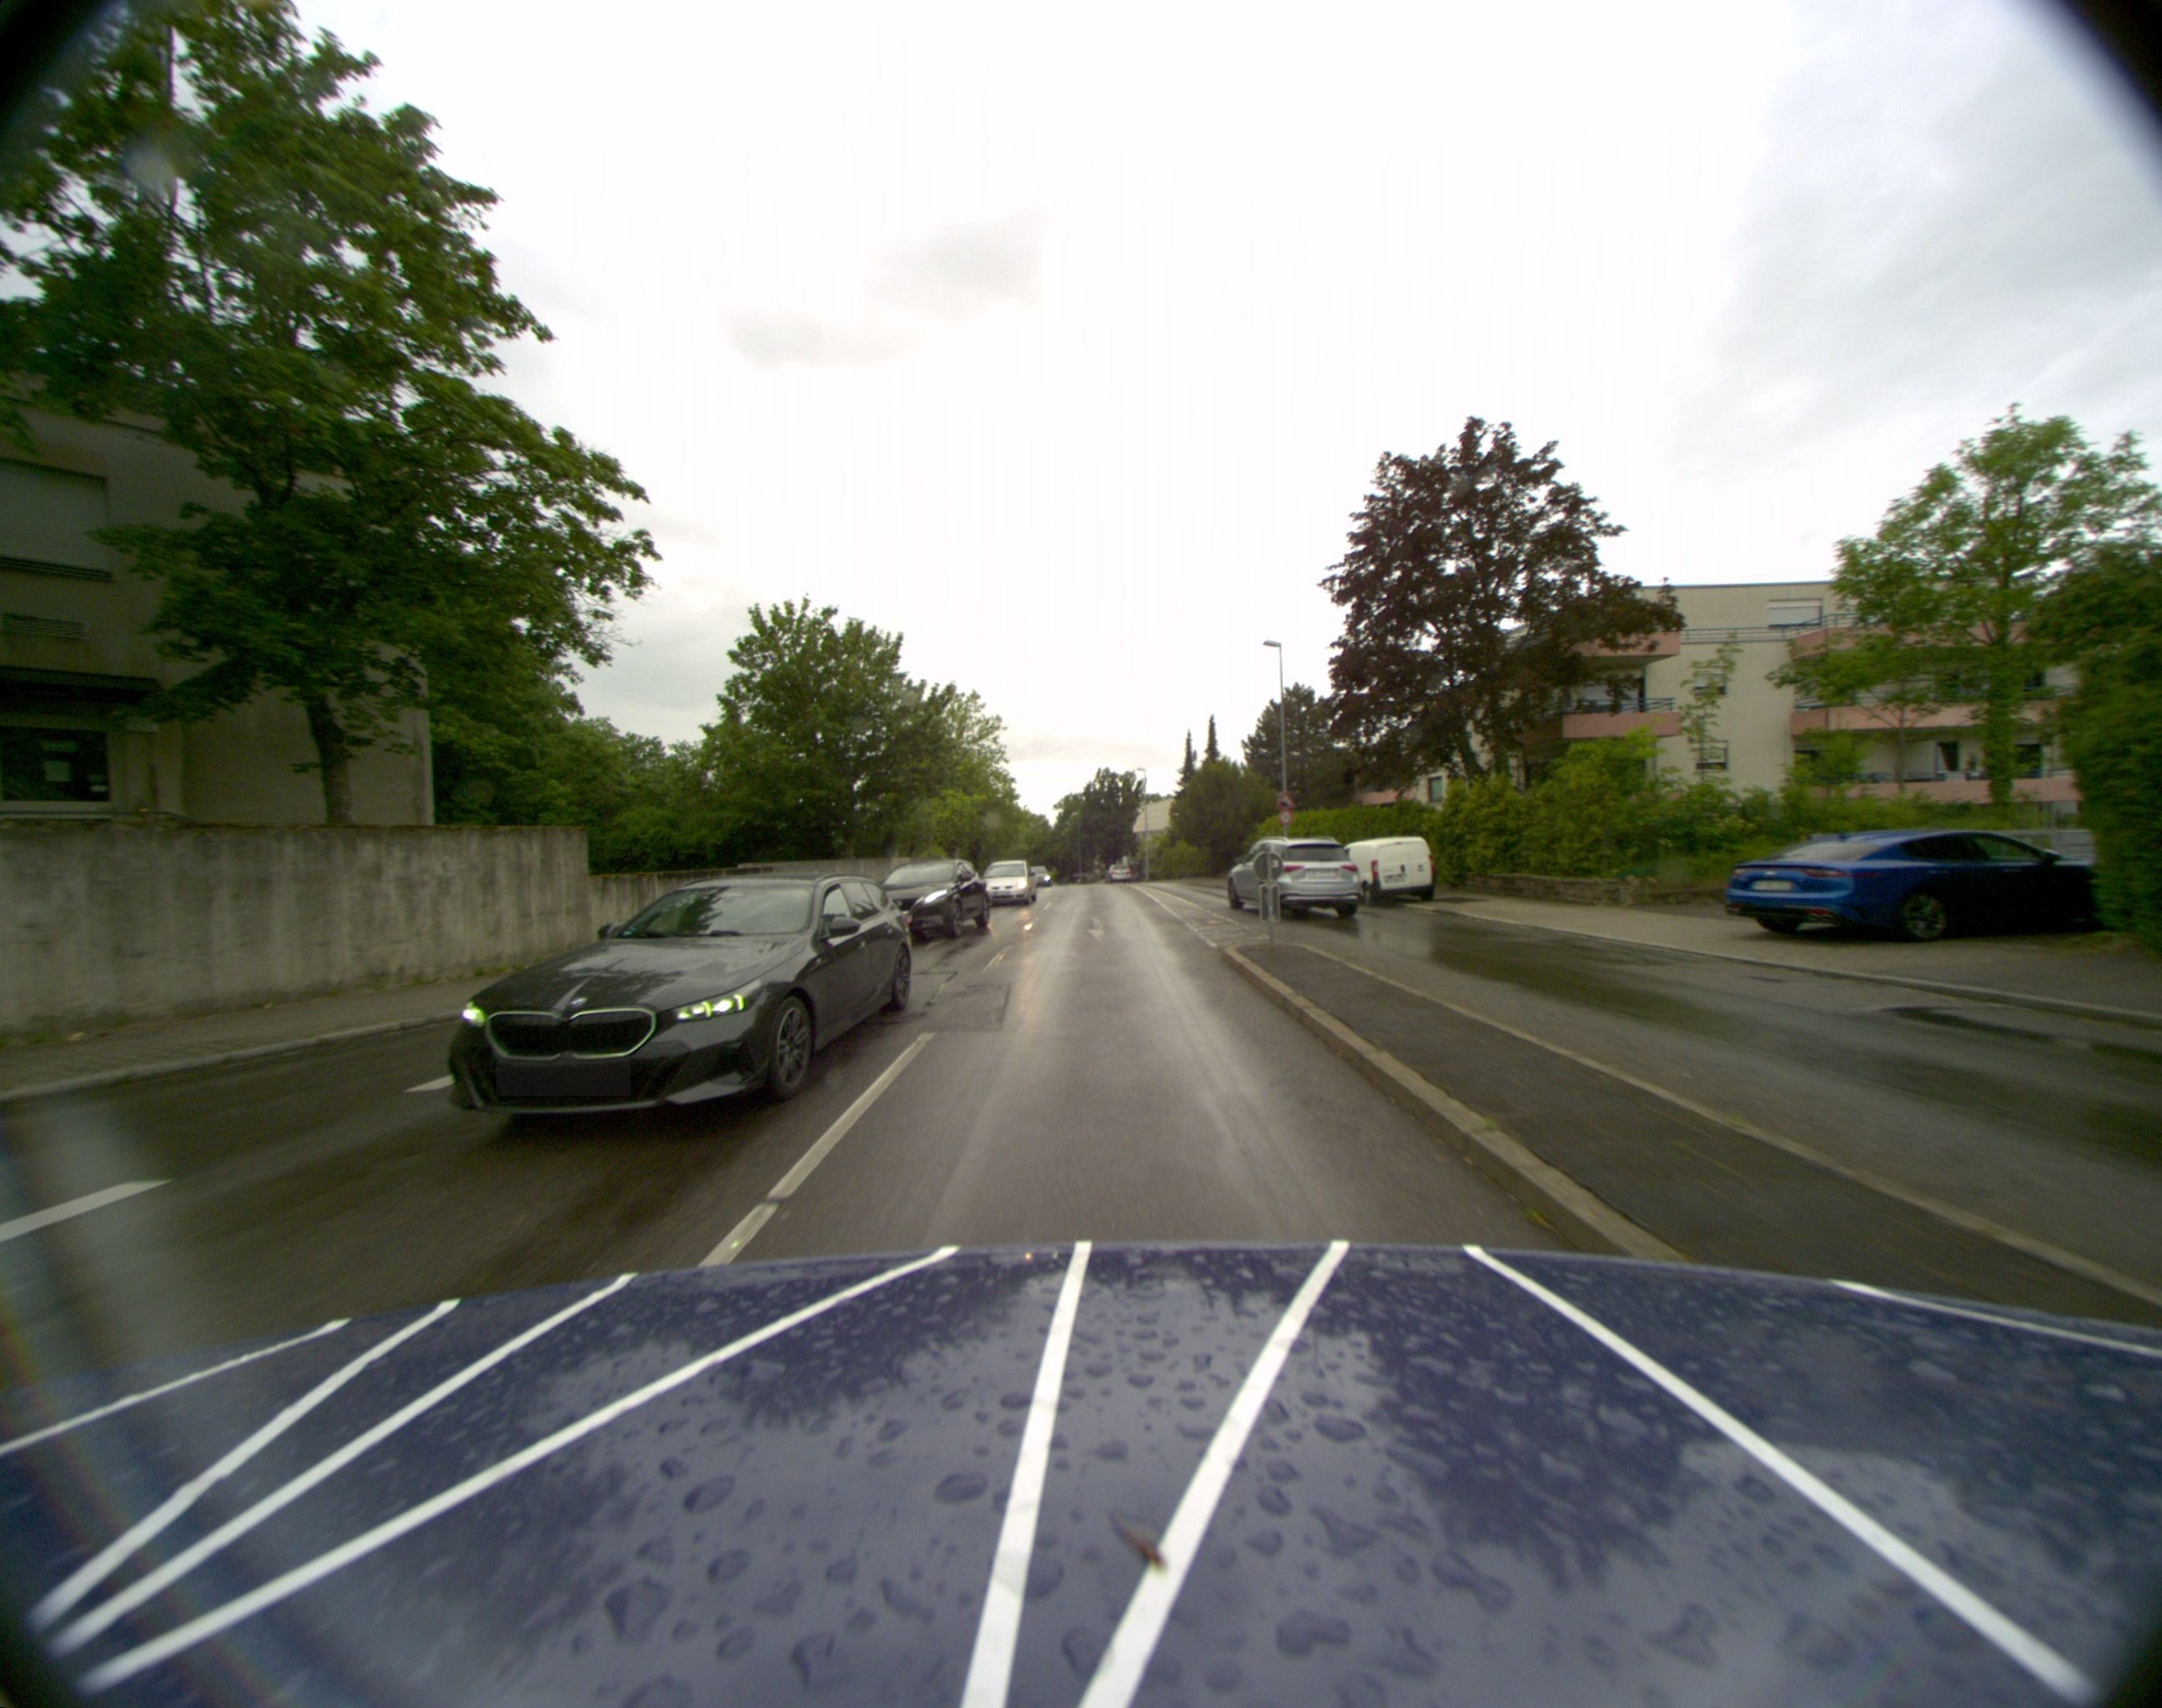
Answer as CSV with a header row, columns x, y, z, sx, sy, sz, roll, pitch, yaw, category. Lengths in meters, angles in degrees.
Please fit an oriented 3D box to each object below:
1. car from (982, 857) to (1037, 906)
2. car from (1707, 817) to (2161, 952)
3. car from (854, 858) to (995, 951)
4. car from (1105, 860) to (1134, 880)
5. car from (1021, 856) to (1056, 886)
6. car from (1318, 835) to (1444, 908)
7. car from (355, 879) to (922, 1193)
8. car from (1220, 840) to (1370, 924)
x,y,z,sx,sy,sz,roll,pitch,yaw,category
-2.479,0.906,27.067,1.640,1.496,3.998,-1,1,-1,car
11.410,0.381,10.296,4.496,1.354,1.805,-4,-1,-6,car
-3.132,0.941,16.148,1.794,1.594,4.254,-3,0,4,car
3.156,1.310,62.995,1.640,1.570,4.054,1,0,-8,car
-2.880,1.203,52.147,2.035,1.690,4.002,-5,-4,0,car
8.112,0.448,20.984,1.705,1.698,3.978,-5,0,-1,car
-2.841,1.046,6.409,1.910,1.450,4.778,-2,0,1,car
4.796,0.586,17.766,2.047,1.706,4.480,-1,0,-3,car
